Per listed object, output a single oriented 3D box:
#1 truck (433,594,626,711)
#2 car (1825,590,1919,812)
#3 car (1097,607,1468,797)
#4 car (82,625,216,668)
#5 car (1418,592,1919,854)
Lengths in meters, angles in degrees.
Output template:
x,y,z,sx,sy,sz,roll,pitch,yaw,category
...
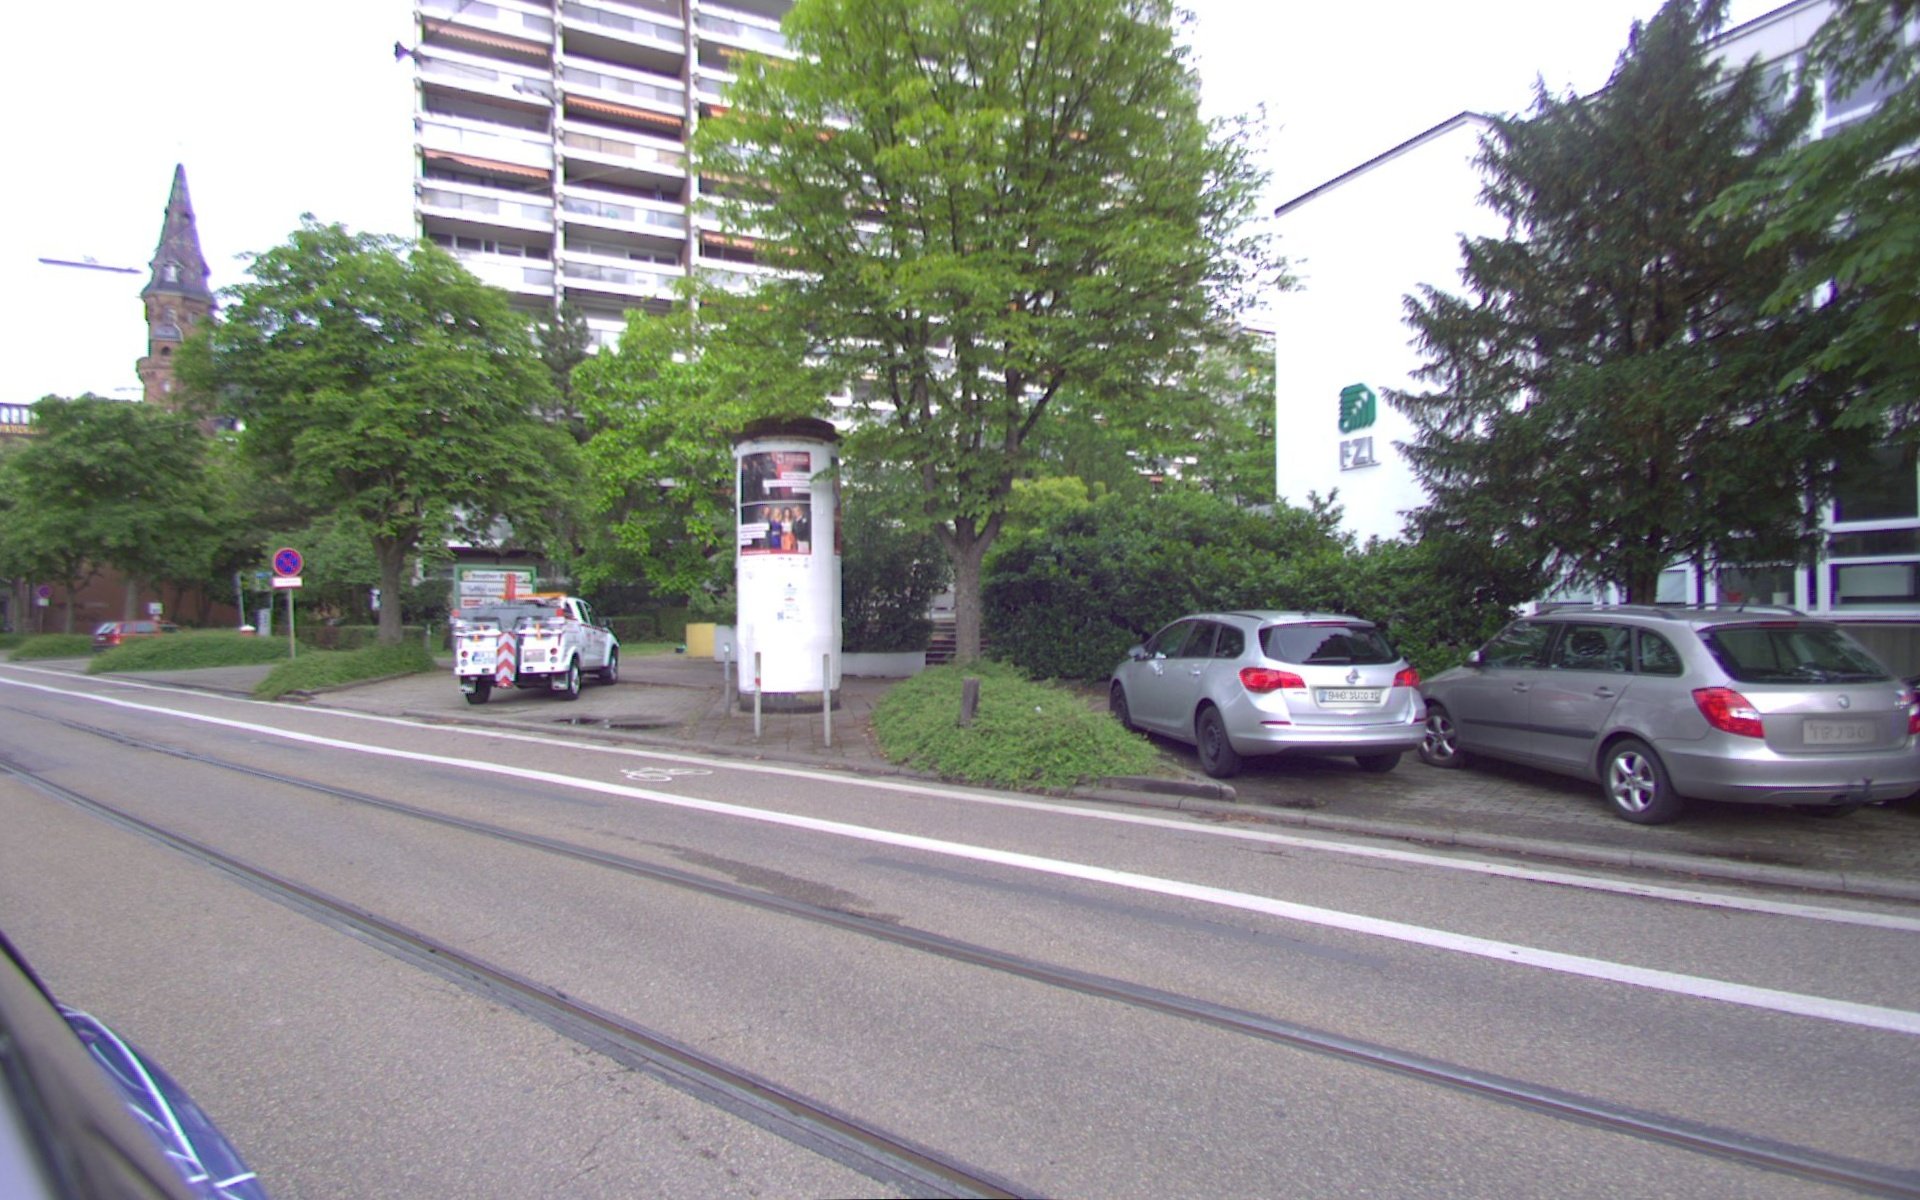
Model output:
x,y,z,sx,sy,sz,roll,pitch,yaw,category
-7.860,0.884,19.048,1.969,1.862,5.071,-1,0,-6,truck
7.627,0.687,5.926,1.674,1.535,3.711,-1,0,-6,car
2.925,0.827,10.371,1.775,1.476,4.441,-1,0,-9,car
-29.454,1.646,36.853,1.625,1.387,3.475,0,0,24,car
5.362,0.734,7.922,1.548,1.535,3.656,-1,0,-6,car
